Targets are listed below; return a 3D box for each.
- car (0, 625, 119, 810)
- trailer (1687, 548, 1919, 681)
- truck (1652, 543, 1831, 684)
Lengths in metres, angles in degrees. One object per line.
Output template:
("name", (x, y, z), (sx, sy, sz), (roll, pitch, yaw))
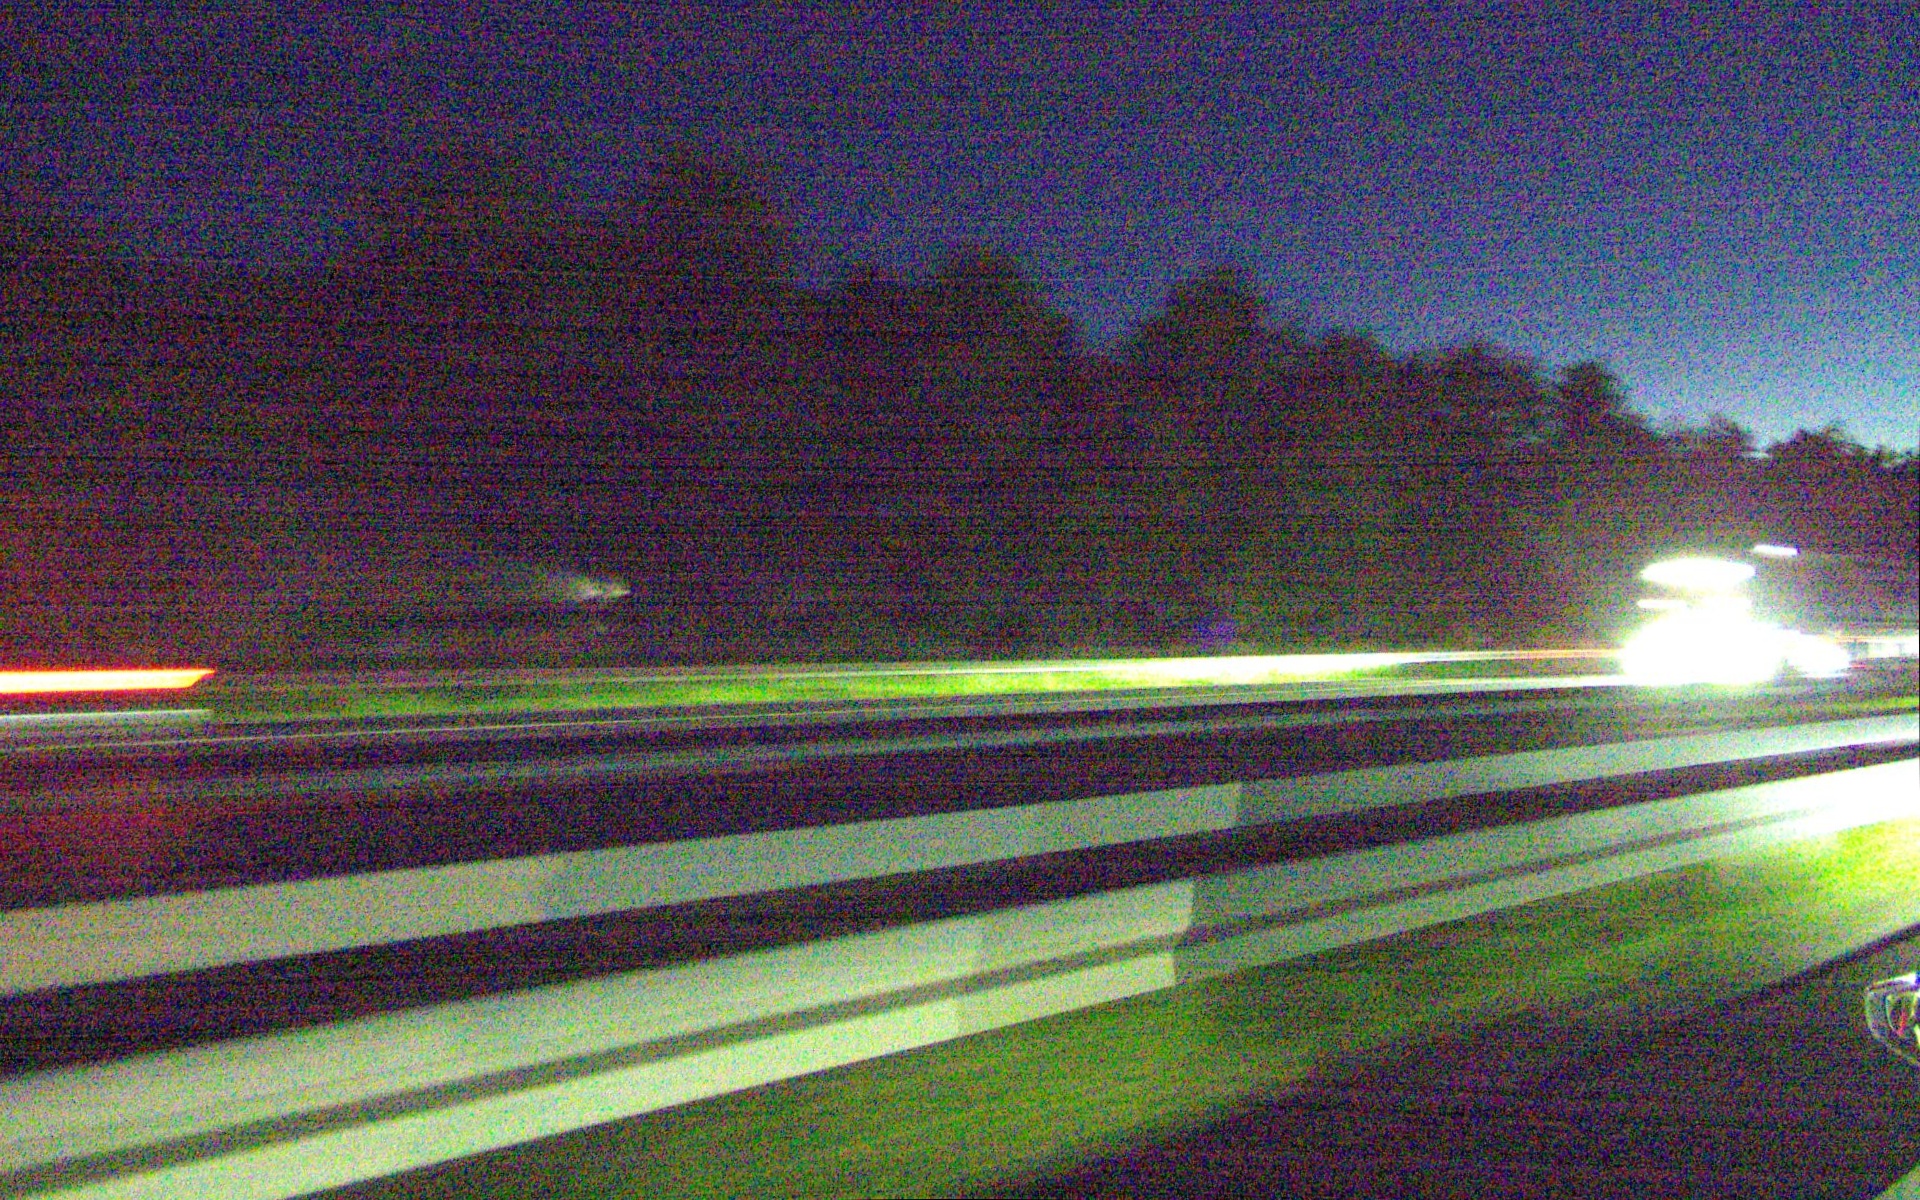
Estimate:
("car", (-9.809, 0.936, 7.885), (4.642, 1.480, 1.982), (2, -3, -33))
("trailer", (31.589, 0.682, 36.767), (13.745, 4.230, 2.846), (2, -3, -31))
("truck", (25.819, 0.537, 33.164), (5.759, 4.267, 2.740), (2, -3, -31))
